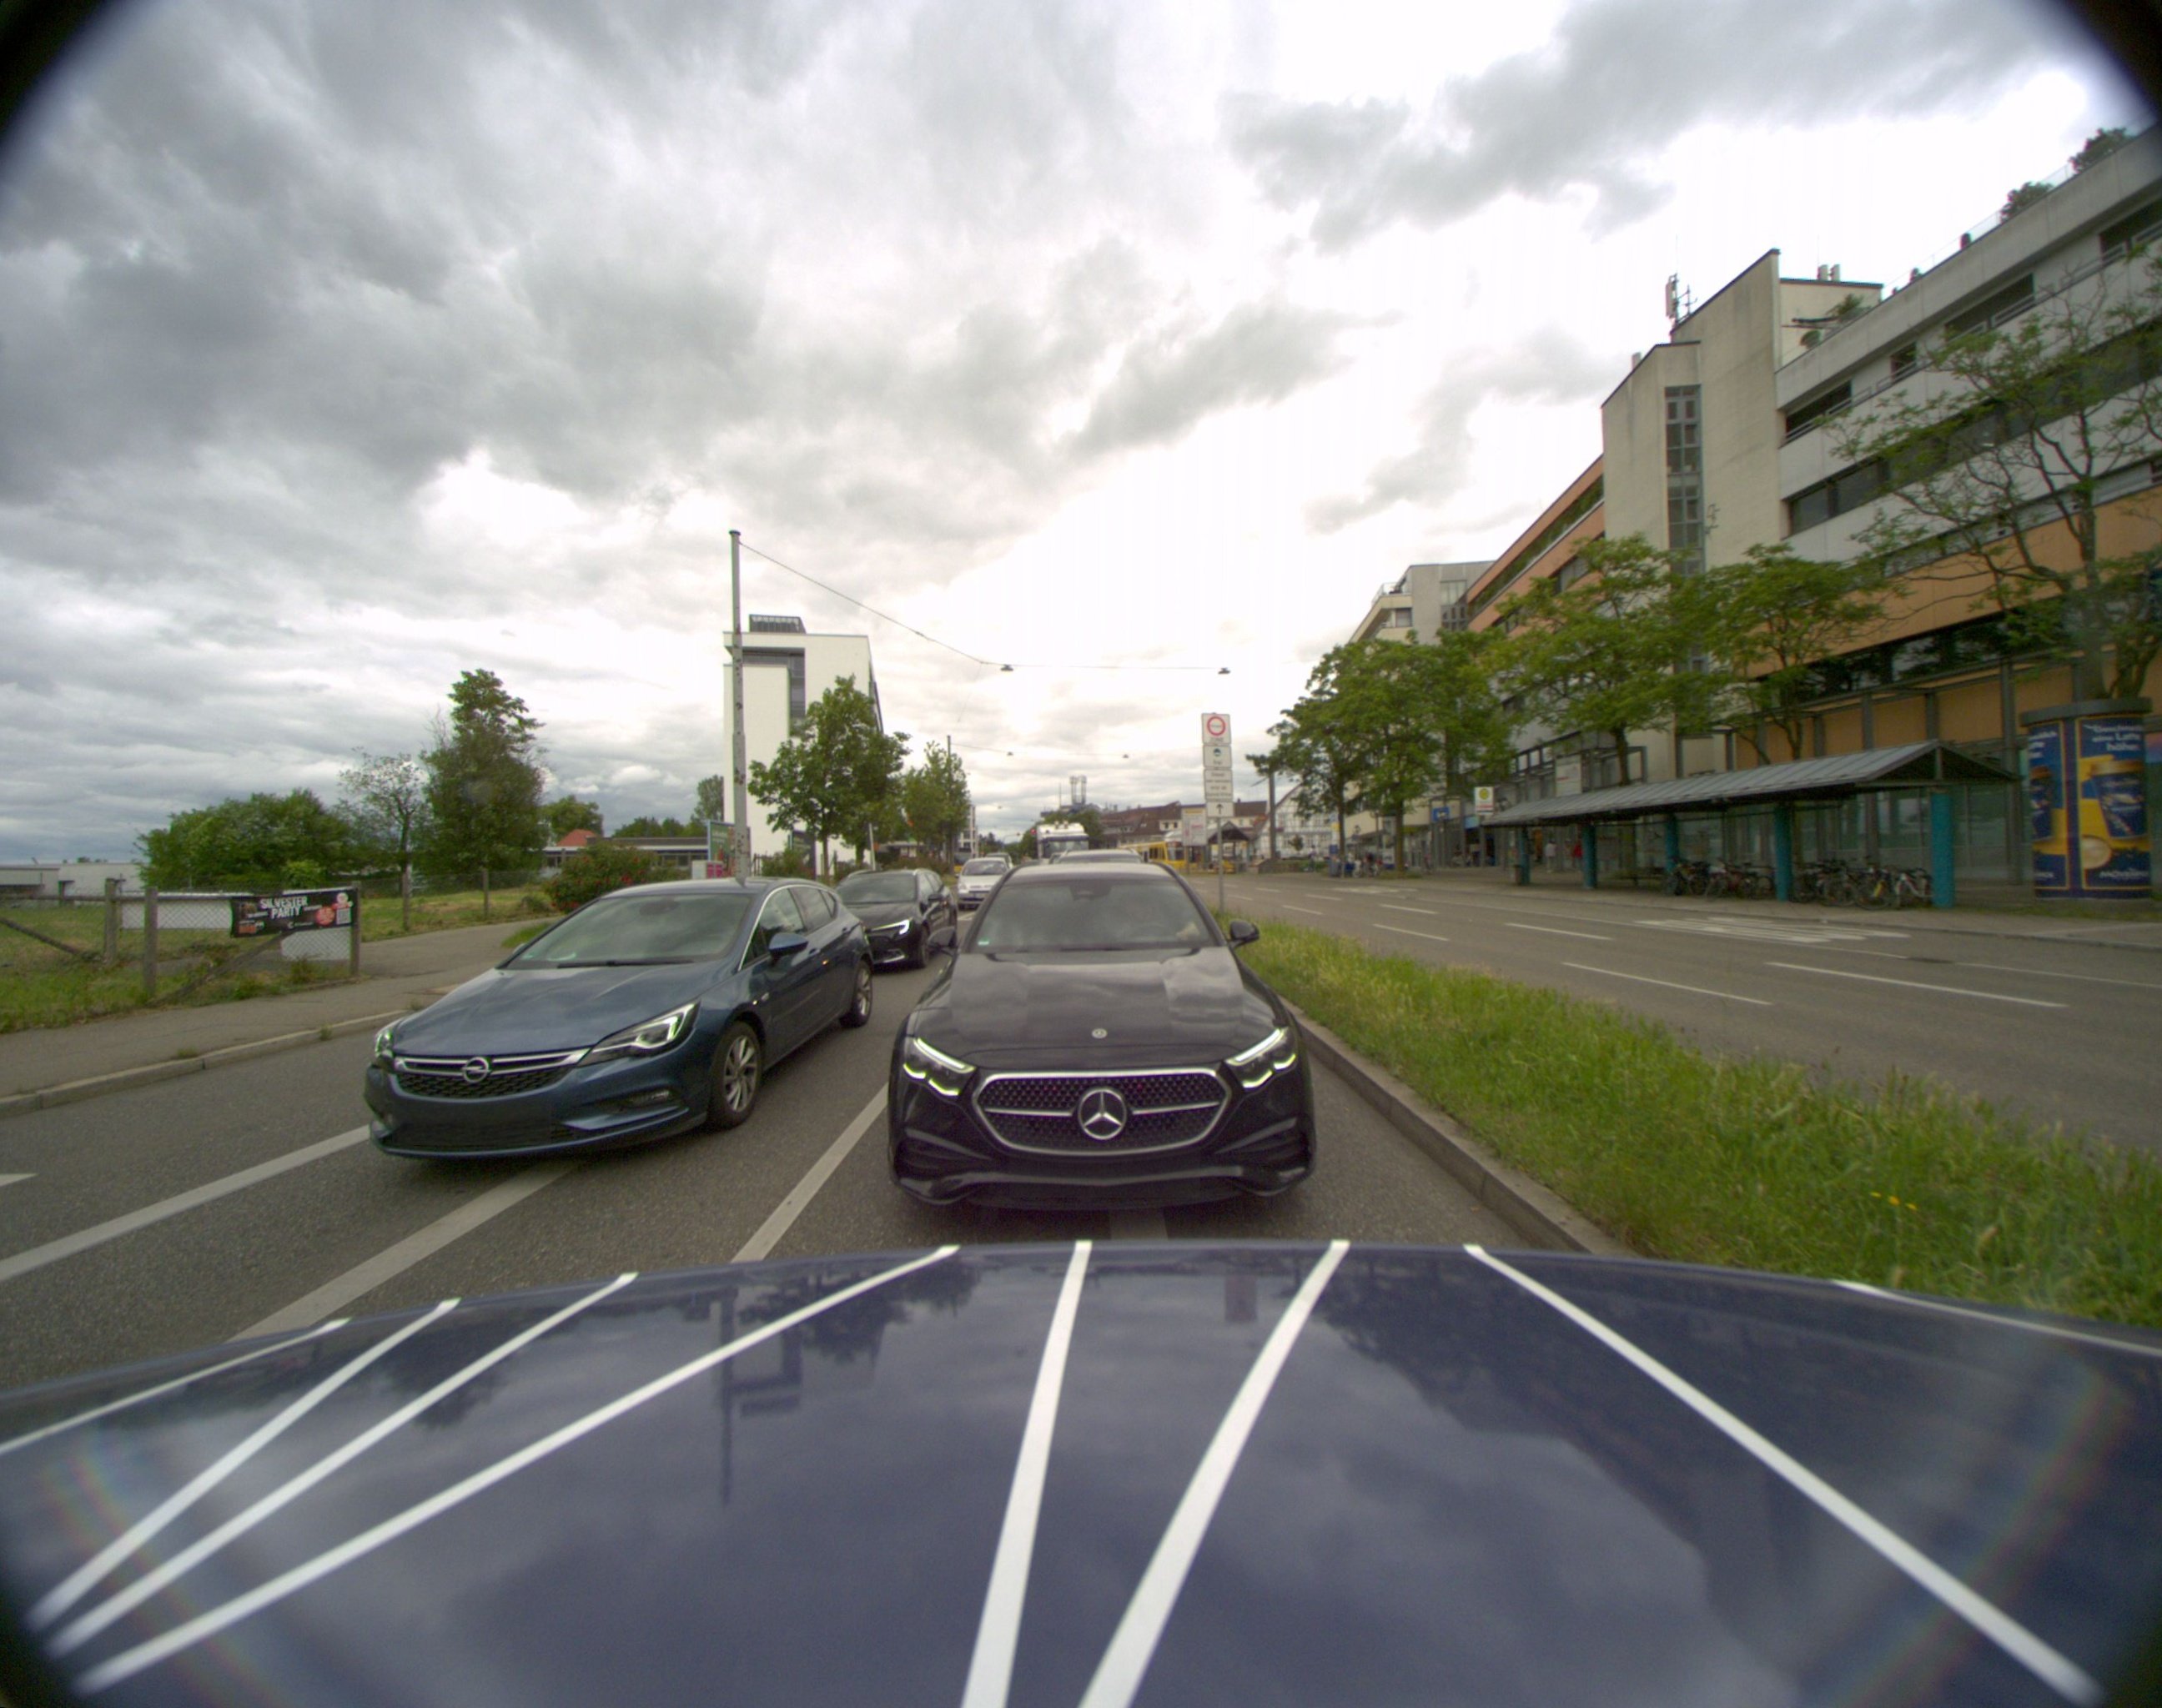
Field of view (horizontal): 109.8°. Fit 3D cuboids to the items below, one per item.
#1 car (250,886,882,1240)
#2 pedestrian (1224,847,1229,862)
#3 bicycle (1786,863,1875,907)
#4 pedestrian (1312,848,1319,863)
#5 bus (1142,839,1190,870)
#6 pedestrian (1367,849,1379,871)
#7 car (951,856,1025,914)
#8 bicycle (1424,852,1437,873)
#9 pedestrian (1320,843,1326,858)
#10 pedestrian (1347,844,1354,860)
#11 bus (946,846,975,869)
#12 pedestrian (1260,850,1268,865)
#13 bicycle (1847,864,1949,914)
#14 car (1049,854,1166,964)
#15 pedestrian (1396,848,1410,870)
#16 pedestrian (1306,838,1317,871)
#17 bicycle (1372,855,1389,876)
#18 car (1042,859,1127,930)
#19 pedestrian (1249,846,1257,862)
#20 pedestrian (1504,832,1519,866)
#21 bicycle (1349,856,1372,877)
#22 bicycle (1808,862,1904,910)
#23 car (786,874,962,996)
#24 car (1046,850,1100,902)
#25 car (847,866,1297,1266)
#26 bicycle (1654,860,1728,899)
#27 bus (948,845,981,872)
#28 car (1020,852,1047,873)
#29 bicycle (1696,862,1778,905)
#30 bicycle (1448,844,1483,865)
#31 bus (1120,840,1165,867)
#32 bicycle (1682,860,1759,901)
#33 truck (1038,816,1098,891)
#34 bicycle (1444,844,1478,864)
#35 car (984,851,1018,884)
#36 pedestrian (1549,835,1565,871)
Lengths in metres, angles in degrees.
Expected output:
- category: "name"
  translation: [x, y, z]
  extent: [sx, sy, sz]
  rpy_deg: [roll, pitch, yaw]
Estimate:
- category: "car"
  translation: [-2.907, 1.057, 5.526]
  extent: [1.826, 1.402, 4.000]
  rpy_deg: [-2, 0, 0]
- category: "pedestrian"
  translation: [20.742, 0.075, 108.164]
  extent: [0.742, 2.002, 0.939]
  rpy_deg: [-1, 1, 11]
- category: "bicycle"
  translation: [19.031, 0.782, 19.308]
  extent: [1.735, 1.035, 0.549]
  rpy_deg: [-2, 1, -2]
- category: "pedestrian"
  translation: [23.563, 0.153, 76.423]
  extent: [0.555, 1.485, 0.454]
  rpy_deg: [-1, 1, 8]
- category: "bus"
  translation: [8.706, 0.020, 79.014]
  extent: [2.556, 2.966, 8.498]
  rpy_deg: [-1, 0, -11]
- category: "pedestrian"
  translation: [24.369, 0.471, 63.447]
  extent: [0.765, 1.835, 0.752]
  rpy_deg: [-1, 1, 1]
- category: "car"
  translation: [-2.928, 0.931, 24.655]
  extent: [1.851, 1.606, 3.783]
  rpy_deg: [-3, 0, 0]
- category: "bicycle"
  translation: [19.493, 0.479, 42.384]
  extent: [0.593, 1.119, 2.040]
  rpy_deg: [0, 1, 24]
- category: "pedestrian"
  translation: [24.284, -0.313, 76.290]
  extent: [0.555, 1.485, 0.454]
  rpy_deg: [-1, 1, 8]
- category: "pedestrian"
  translation: [19.467, -0.129, 54.958]
  extent: [0.341, 1.172, 0.369]
  rpy_deg: [-1, 1, -9]
- category: "bus"
  translation: [-15.215, 0.366, 95.050]
  extent: [2.969, 2.616, 12.911]
  rpy_deg: [-2, 1, -11]
- category: "pedestrian"
  translation: [19.266, 0.380, 80.073]
  extent: [0.577, 1.533, 0.583]
  rpy_deg: [-1, 1, -8]
- category: "bicycle"
  translation: [18.691, 0.791, 17.397]
  extent: [1.735, 1.035, 0.549]
  rpy_deg: [-2, 1, -2]
- category: "car"
  translation: [0.399, 0.828, 13.482]
  extent: [1.734, 1.601, 4.000]
  rpy_deg: [-2, 0, 0]
- category: "pedestrian"
  translation: [24.940, 0.359, 58.898]
  extent: [0.765, 1.673, 0.752]
  rpy_deg: [-1, 1, 1]
- category: "pedestrian"
  translation: [16.214, 0.015, 53.432]
  extent: [0.590, 2.294, 0.608]
  rpy_deg: [-1, 1, -2]
- category: "bicycle"
  translation: [16.408, 0.633, 41.645]
  extent: [0.593, 1.071, 2.041]
  rpy_deg: [0, 1, 29]
- category: "car"
  translation: [0.051, 0.919, 18.908]
  extent: [1.865, 1.520, 3.999]
  rpy_deg: [-1, 0, -1]
- category: "pedestrian"
  translation: [22.357, 0.007, 99.025]
  extent: [0.879, 2.002, 1.010]
  rpy_deg: [-1, 1, 6]
- category: "pedestrian"
  translation: [25.463, -0.303, 44.912]
  extent: [0.566, 2.002, 0.611]
  rpy_deg: [-1, 1, 6]
- category: "bicycle"
  translation: [15.485, 0.665, 42.017]
  extent: [0.593, 1.071, 2.041]
  rpy_deg: [0, 1, 38]
- category: "bicycle"
  translation: [18.632, 0.759, 18.283]
  extent: [1.735, 1.035, 0.549]
  rpy_deg: [-3, 1, -2]
- category: "car"
  translation: [-3.057, 1.120, 12.039]
  extent: [1.665, 1.448, 3.921]
  rpy_deg: [-2, 0, 0]
- category: "car"
  translation: [-0.360, 0.753, 28.344]
  extent: [1.865, 1.773, 3.999]
  rpy_deg: [-1, 0, -2]
- category: "car"
  translation: [-0.047, 0.891, 5.190]
  extent: [1.793, 1.507, 4.249]
  rpy_deg: [-1, 0, 0]
- category: "bicycle"
  translation: [18.211, 0.756, 22.702]
  extent: [1.735, 1.035, 0.549]
  rpy_deg: [-3, 1, -2]
- category: "bus"
  translation: [-12.810, 0.409, 82.727]
  extent: [2.969, 2.616, 12.137]
  rpy_deg: [-2, 1, -11]
- category: "car"
  translation: [-4.331, 0.756, 68.736]
  extent: [2.000, 1.674, 3.997]
  rpy_deg: [-4, 1, -8]
- category: "bicycle"
  translation: [17.954, 0.797, 20.810]
  extent: [1.735, 1.035, 0.549]
  rpy_deg: [-3, 1, -2]
- category: "bicycle"
  translation: [27.000, 0.042, 53.400]
  extent: [2.139, 1.367, 0.620]
  rpy_deg: [-2, 1, 18]
- category: "bus"
  translation: [6.942, -0.034, 87.951]
  extent: [2.556, 2.966, 9.790]
  rpy_deg: [-1, 0, -11]
- category: "bicycle"
  translation: [18.290, 0.751, 21.742]
  extent: [1.735, 1.035, 0.549]
  rpy_deg: [-4, 1, -2]
- category: "truck"
  translation: [-0.760, -0.032, 36.724]
  extent: [2.490, 3.258, 7.428]
  rpy_deg: [-1, 0, -4]
- category: "bicycle"
  translation: [27.763, -0.016, 55.551]
  extent: [2.138, 1.358, 0.620]
  rpy_deg: [-2, 1, 26]
- category: "car"
  translation: [-4.975, 0.797, 47.550]
  extent: [1.852, 1.875, 4.135]
  rpy_deg: [-3, 0, -4]
- category: "pedestrian"
  translation: [24.105, -0.038, 38.488]
  extent: [0.648, 1.799, 0.761]
  rpy_deg: [0, 1, 34]
